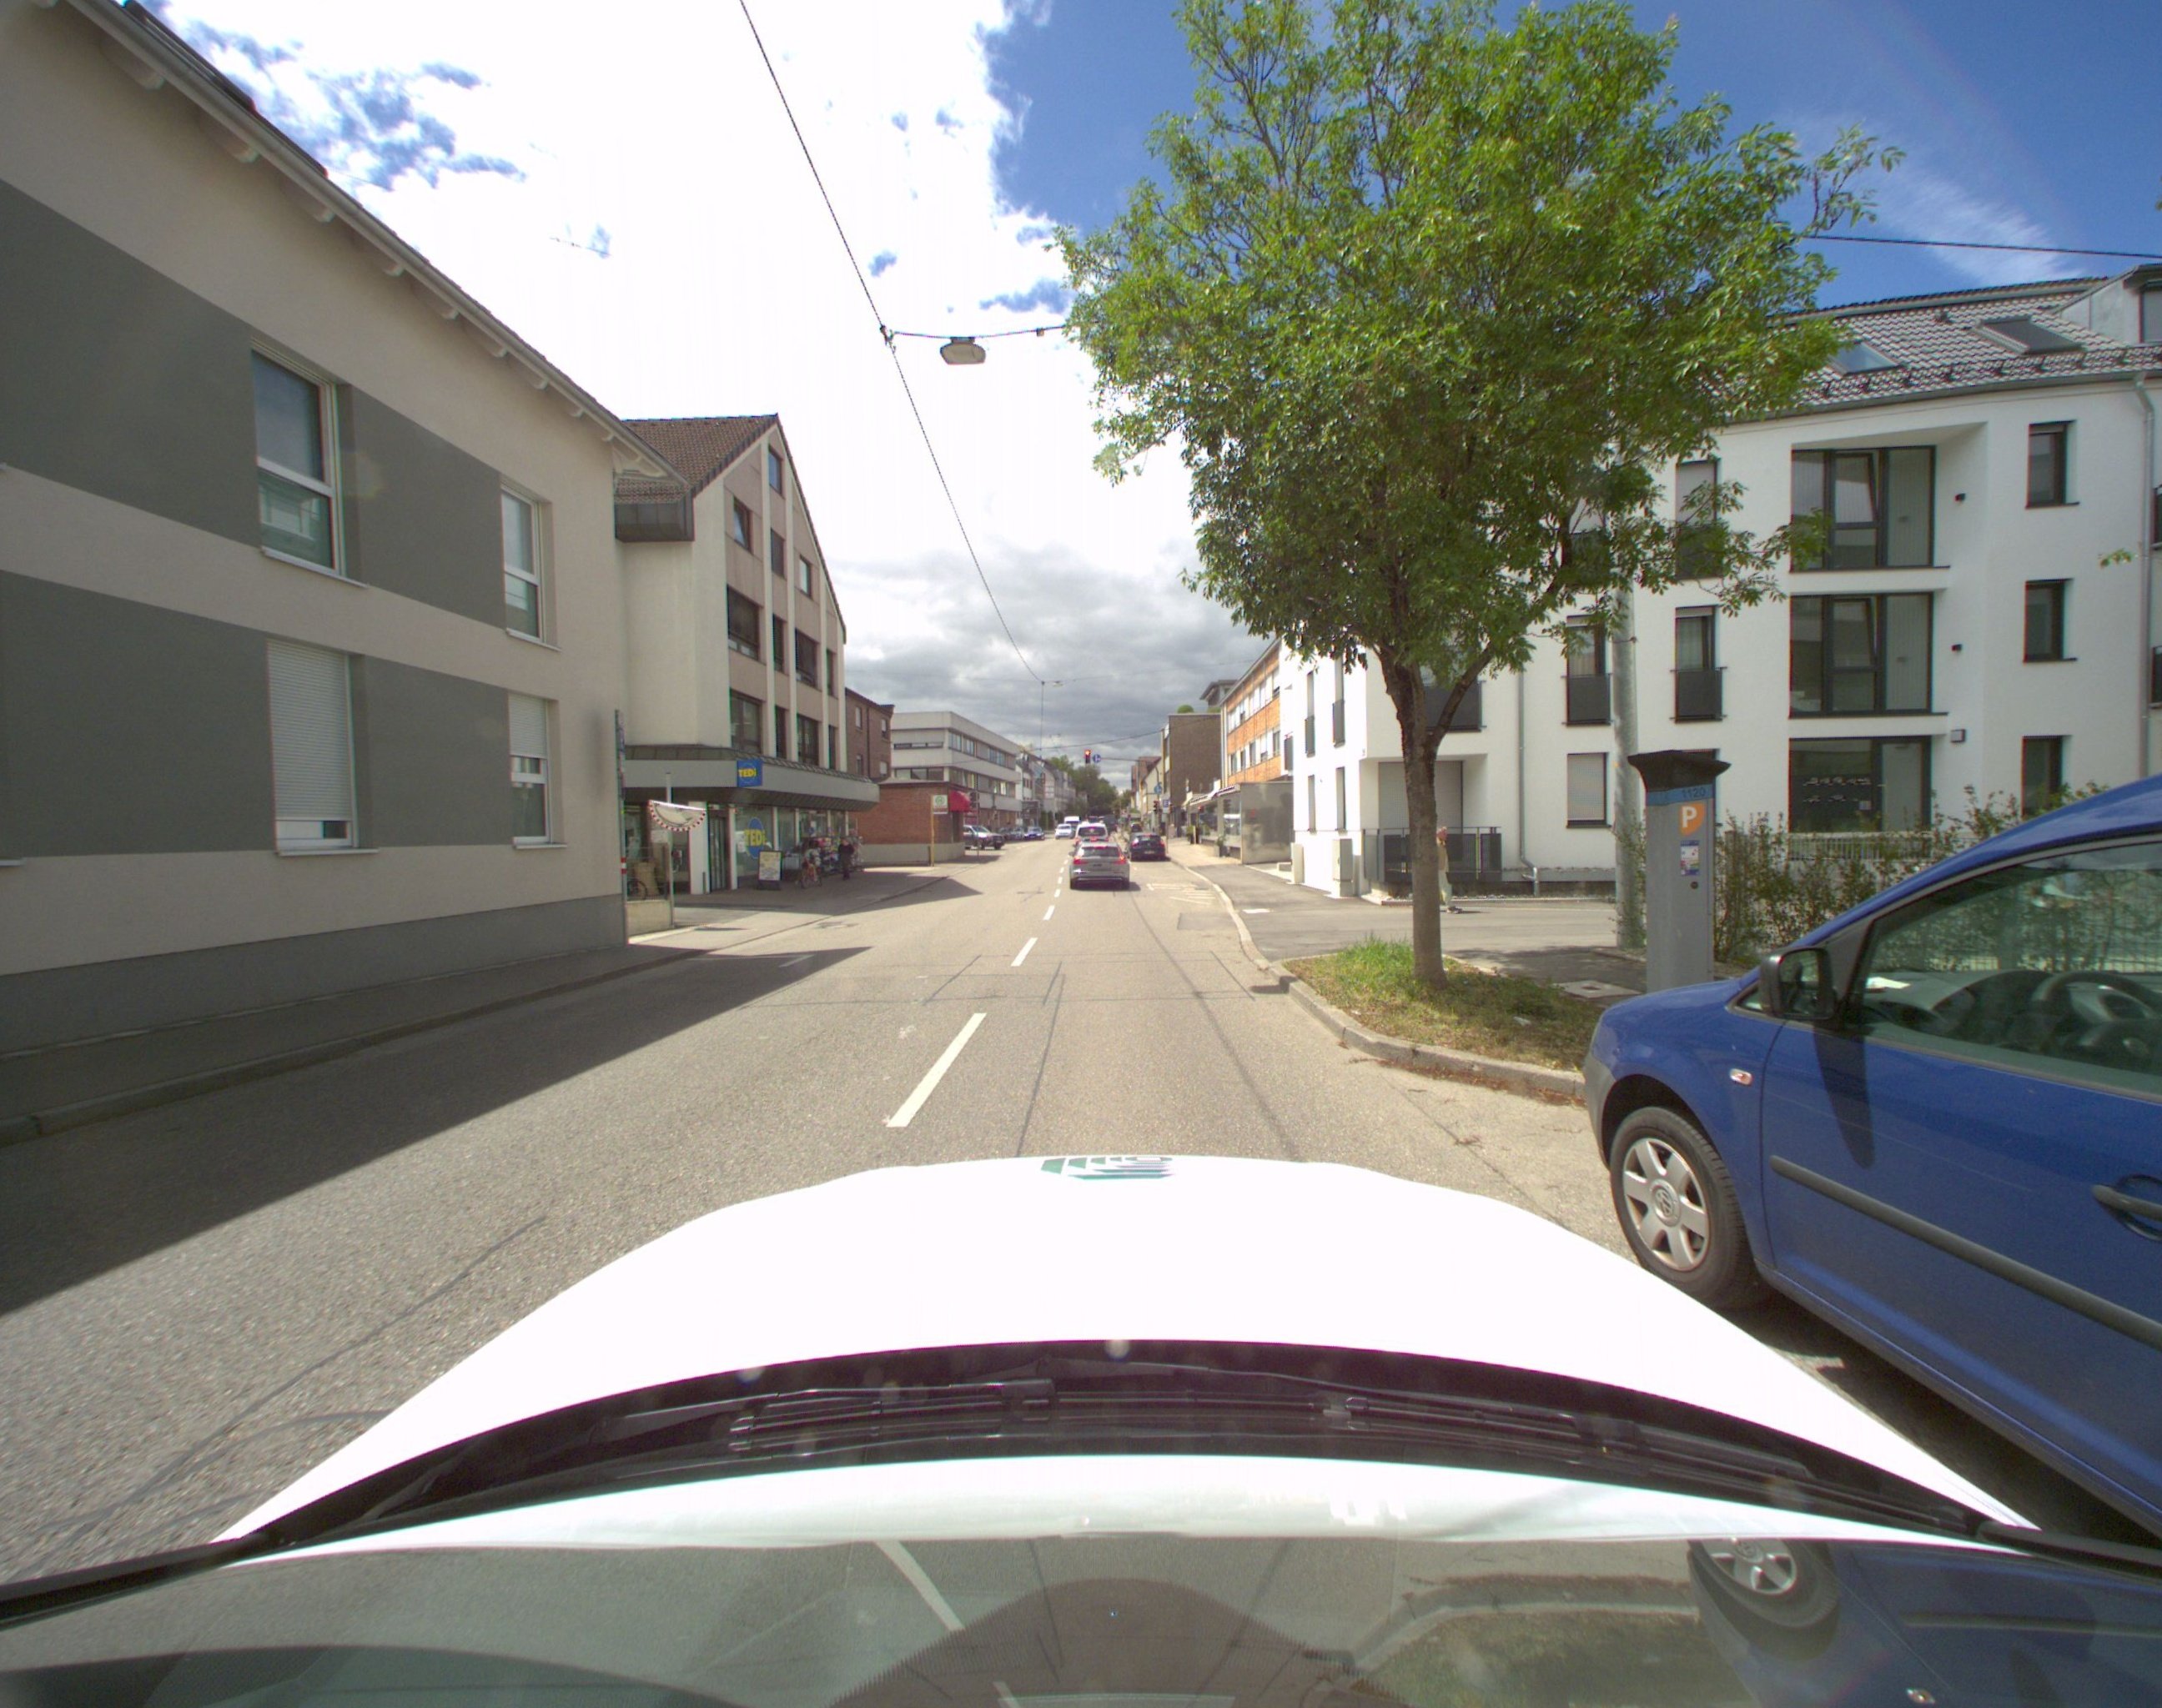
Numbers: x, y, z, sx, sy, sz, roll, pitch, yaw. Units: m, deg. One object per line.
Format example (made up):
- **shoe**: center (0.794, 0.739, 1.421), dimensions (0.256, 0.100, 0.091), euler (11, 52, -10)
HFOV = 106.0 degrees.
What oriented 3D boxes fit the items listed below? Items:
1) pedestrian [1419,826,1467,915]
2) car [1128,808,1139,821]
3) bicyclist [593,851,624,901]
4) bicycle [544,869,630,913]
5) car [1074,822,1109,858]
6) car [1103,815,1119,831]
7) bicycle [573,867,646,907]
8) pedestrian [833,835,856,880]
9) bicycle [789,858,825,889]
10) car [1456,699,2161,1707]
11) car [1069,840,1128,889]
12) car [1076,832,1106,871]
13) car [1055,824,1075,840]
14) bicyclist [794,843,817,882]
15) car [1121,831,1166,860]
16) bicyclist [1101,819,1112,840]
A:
- **pedestrian**: center (6.895, 0.309, 15.501), dimensions (0.608, 1.647, 0.744), euler (-2, 0, 39)
- **car**: center (8.958, -6.708, 139.782), dimensions (1.795, 2.014, 4.002), euler (-1, 0, 2)
- **bicyclist**: center (-11.321, 0.516, 19.506), dimensions (0.496, 1.181, 0.397), euler (0, 0, 1)
- **bicycle**: center (-11.275, 0.826, 18.630), dimensions (0.299, 0.896, 1.663), euler (-1, 1, 42)
- **car**: center (0.611, -0.757, 44.953), dimensions (1.829, 1.862, 3.852), euler (0, 0, 2)
- **car**: center (4.572, -4.814, 126.210), dimensions (2.427, 2.318, 5.328), euler (0, 1, 2)
- **bicycle**: center (-11.288, 0.780, 19.510), dimensions (1.546, 0.896, 0.303), euler (-1, 0, -1)
- **pedestrian**: center (-8.533, 0.137, 29.426), dimensions (0.625, 1.602, 0.563), euler (0, 0, 5)
- **bicycle**: center (-8.583, 0.601, 25.571), dimensions (0.465, 0.861, 1.778), euler (0, 2, 2)
- **car**: center (2.665, 0.630, 1.664), dimensions (1.837, 1.767, 4.517), euler (0, 0, 2)
- **car**: center (0.574, 0.312, 26.422), dimensions (1.737, 1.417, 4.002), euler (-1, 0, 2)
- **car**: center (0.455, -0.151, 36.199), dimensions (1.269, 1.527, 3.052), euler (-1, 3, 1)
- **car**: center (-1.706, -2.410, 89.027), dimensions (1.864, 1.640, 4.004), euler (0, 0, 4)
- **bicyclist**: center (-8.612, 0.260, 25.455), dimensions (0.456, 1.179, 0.625), euler (-1, 0, 1)
- **car**: center (3.185, -0.434, 42.082), dimensions (1.750, 1.371, 3.994), euler (-1, 0, -4)
- **bicyclist**: center (1.972, -1.849, 62.425), dimensions (0.771, 1.606, 0.580), euler (-1, -1, -5)
